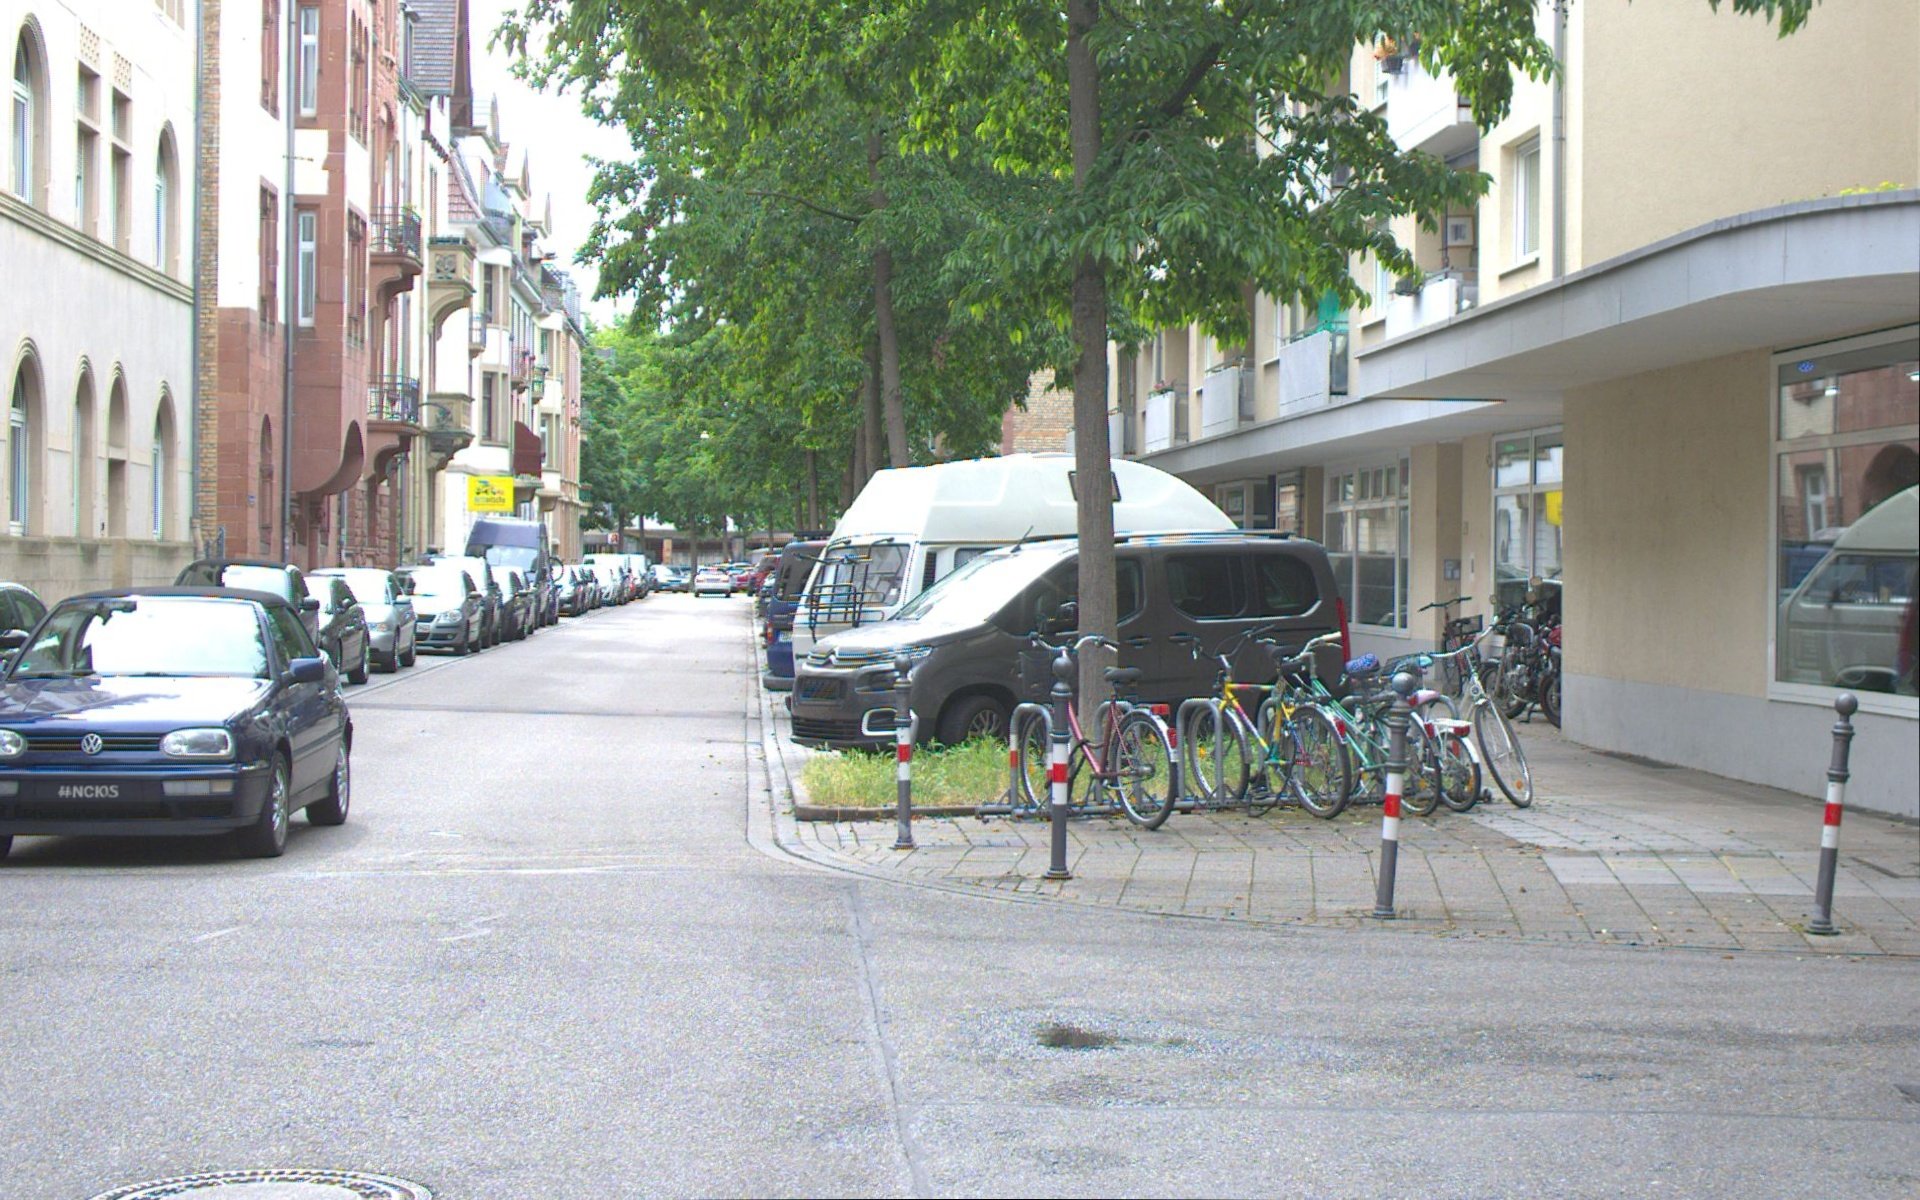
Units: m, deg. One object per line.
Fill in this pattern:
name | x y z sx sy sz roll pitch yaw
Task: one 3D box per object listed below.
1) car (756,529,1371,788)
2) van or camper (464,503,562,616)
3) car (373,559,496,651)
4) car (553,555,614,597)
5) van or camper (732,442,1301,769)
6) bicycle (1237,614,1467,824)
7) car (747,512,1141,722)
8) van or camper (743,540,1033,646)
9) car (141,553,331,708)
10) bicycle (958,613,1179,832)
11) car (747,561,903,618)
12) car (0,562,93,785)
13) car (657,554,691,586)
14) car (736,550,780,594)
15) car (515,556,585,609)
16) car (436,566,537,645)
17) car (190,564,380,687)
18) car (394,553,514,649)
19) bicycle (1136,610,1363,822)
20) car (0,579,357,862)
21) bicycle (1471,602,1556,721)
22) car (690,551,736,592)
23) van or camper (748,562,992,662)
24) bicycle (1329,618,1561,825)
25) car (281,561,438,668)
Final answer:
car | 0.810 0.412 26.417 4.331 1.848 1.911 0 1 -28
van or camper | -10.928 -1.040 84.318 2.008 2.642 5.317 0 2 -3
car | -8.833 0.064 58.036 1.662 1.416 3.930 2 1 -4
car | -13.503 -0.868 123.466 1.993 1.470 4.001 1 1 -3
van or camper | 0.526 0.031 29.296 4.582 2.587 1.911 0 1 -36
bicycle | 2.342 0.691 20.737 0.548 1.169 1.729 0 1 -25
car | -0.114 0.153 38.094 2.065 2.189 4.389 1 1 38
van or camper | -1.340 -0.152 64.469 5.006 1.863 2.127 -1 1 -31
car | -8.056 0.308 38.448 1.646 1.565 2.957 2 2 -4
bicycle | 0.608 0.680 19.910 0.548 1.169 1.729 0 1 -25
car | -3.827 -0.293 97.424 4.010 1.554 1.884 1 1 -34
car | -7.269 0.465 23.575 1.709 1.489 4.000 2 0 -2
car | -15.986 -1.669 192.259 1.820 1.639 3.754 2 -1 -4
car | -9.858 -1.378 167.661 1.993 2.007 4.001 4 0 -4
car | -11.970 -0.526 100.499 1.789 1.475 4.023 2 0 -4
car | -9.500 0.085 69.177 1.634 1.468 4.001 2 1 -3
car | -8.303 0.314 42.577 1.726 1.382 3.929 2 0 -3
car | -9.359 -0.015 63.817 1.786 1.641 4.362 2 1 -4
bicycle | 1.700 0.665 20.485 0.548 1.169 1.729 0 1 -25
car | -4.433 0.612 19.051 1.708 1.408 3.853 0 0 -3
bicycle | 5.303 0.579 33.000 0.484 1.086 1.701 1 1 -1
car | -11.621 -1.345 161.709 1.993 1.788 4.000 2 -1 -3
van or camper | -1.891 0.258 72.868 4.729 1.987 2.000 -1 -1 -28
bicycle | 2.939 0.716 20.977 0.548 1.169 1.698 0 1 -25
car | -8.566 0.171 49.311 1.726 1.382 4.137 2 1 -4
